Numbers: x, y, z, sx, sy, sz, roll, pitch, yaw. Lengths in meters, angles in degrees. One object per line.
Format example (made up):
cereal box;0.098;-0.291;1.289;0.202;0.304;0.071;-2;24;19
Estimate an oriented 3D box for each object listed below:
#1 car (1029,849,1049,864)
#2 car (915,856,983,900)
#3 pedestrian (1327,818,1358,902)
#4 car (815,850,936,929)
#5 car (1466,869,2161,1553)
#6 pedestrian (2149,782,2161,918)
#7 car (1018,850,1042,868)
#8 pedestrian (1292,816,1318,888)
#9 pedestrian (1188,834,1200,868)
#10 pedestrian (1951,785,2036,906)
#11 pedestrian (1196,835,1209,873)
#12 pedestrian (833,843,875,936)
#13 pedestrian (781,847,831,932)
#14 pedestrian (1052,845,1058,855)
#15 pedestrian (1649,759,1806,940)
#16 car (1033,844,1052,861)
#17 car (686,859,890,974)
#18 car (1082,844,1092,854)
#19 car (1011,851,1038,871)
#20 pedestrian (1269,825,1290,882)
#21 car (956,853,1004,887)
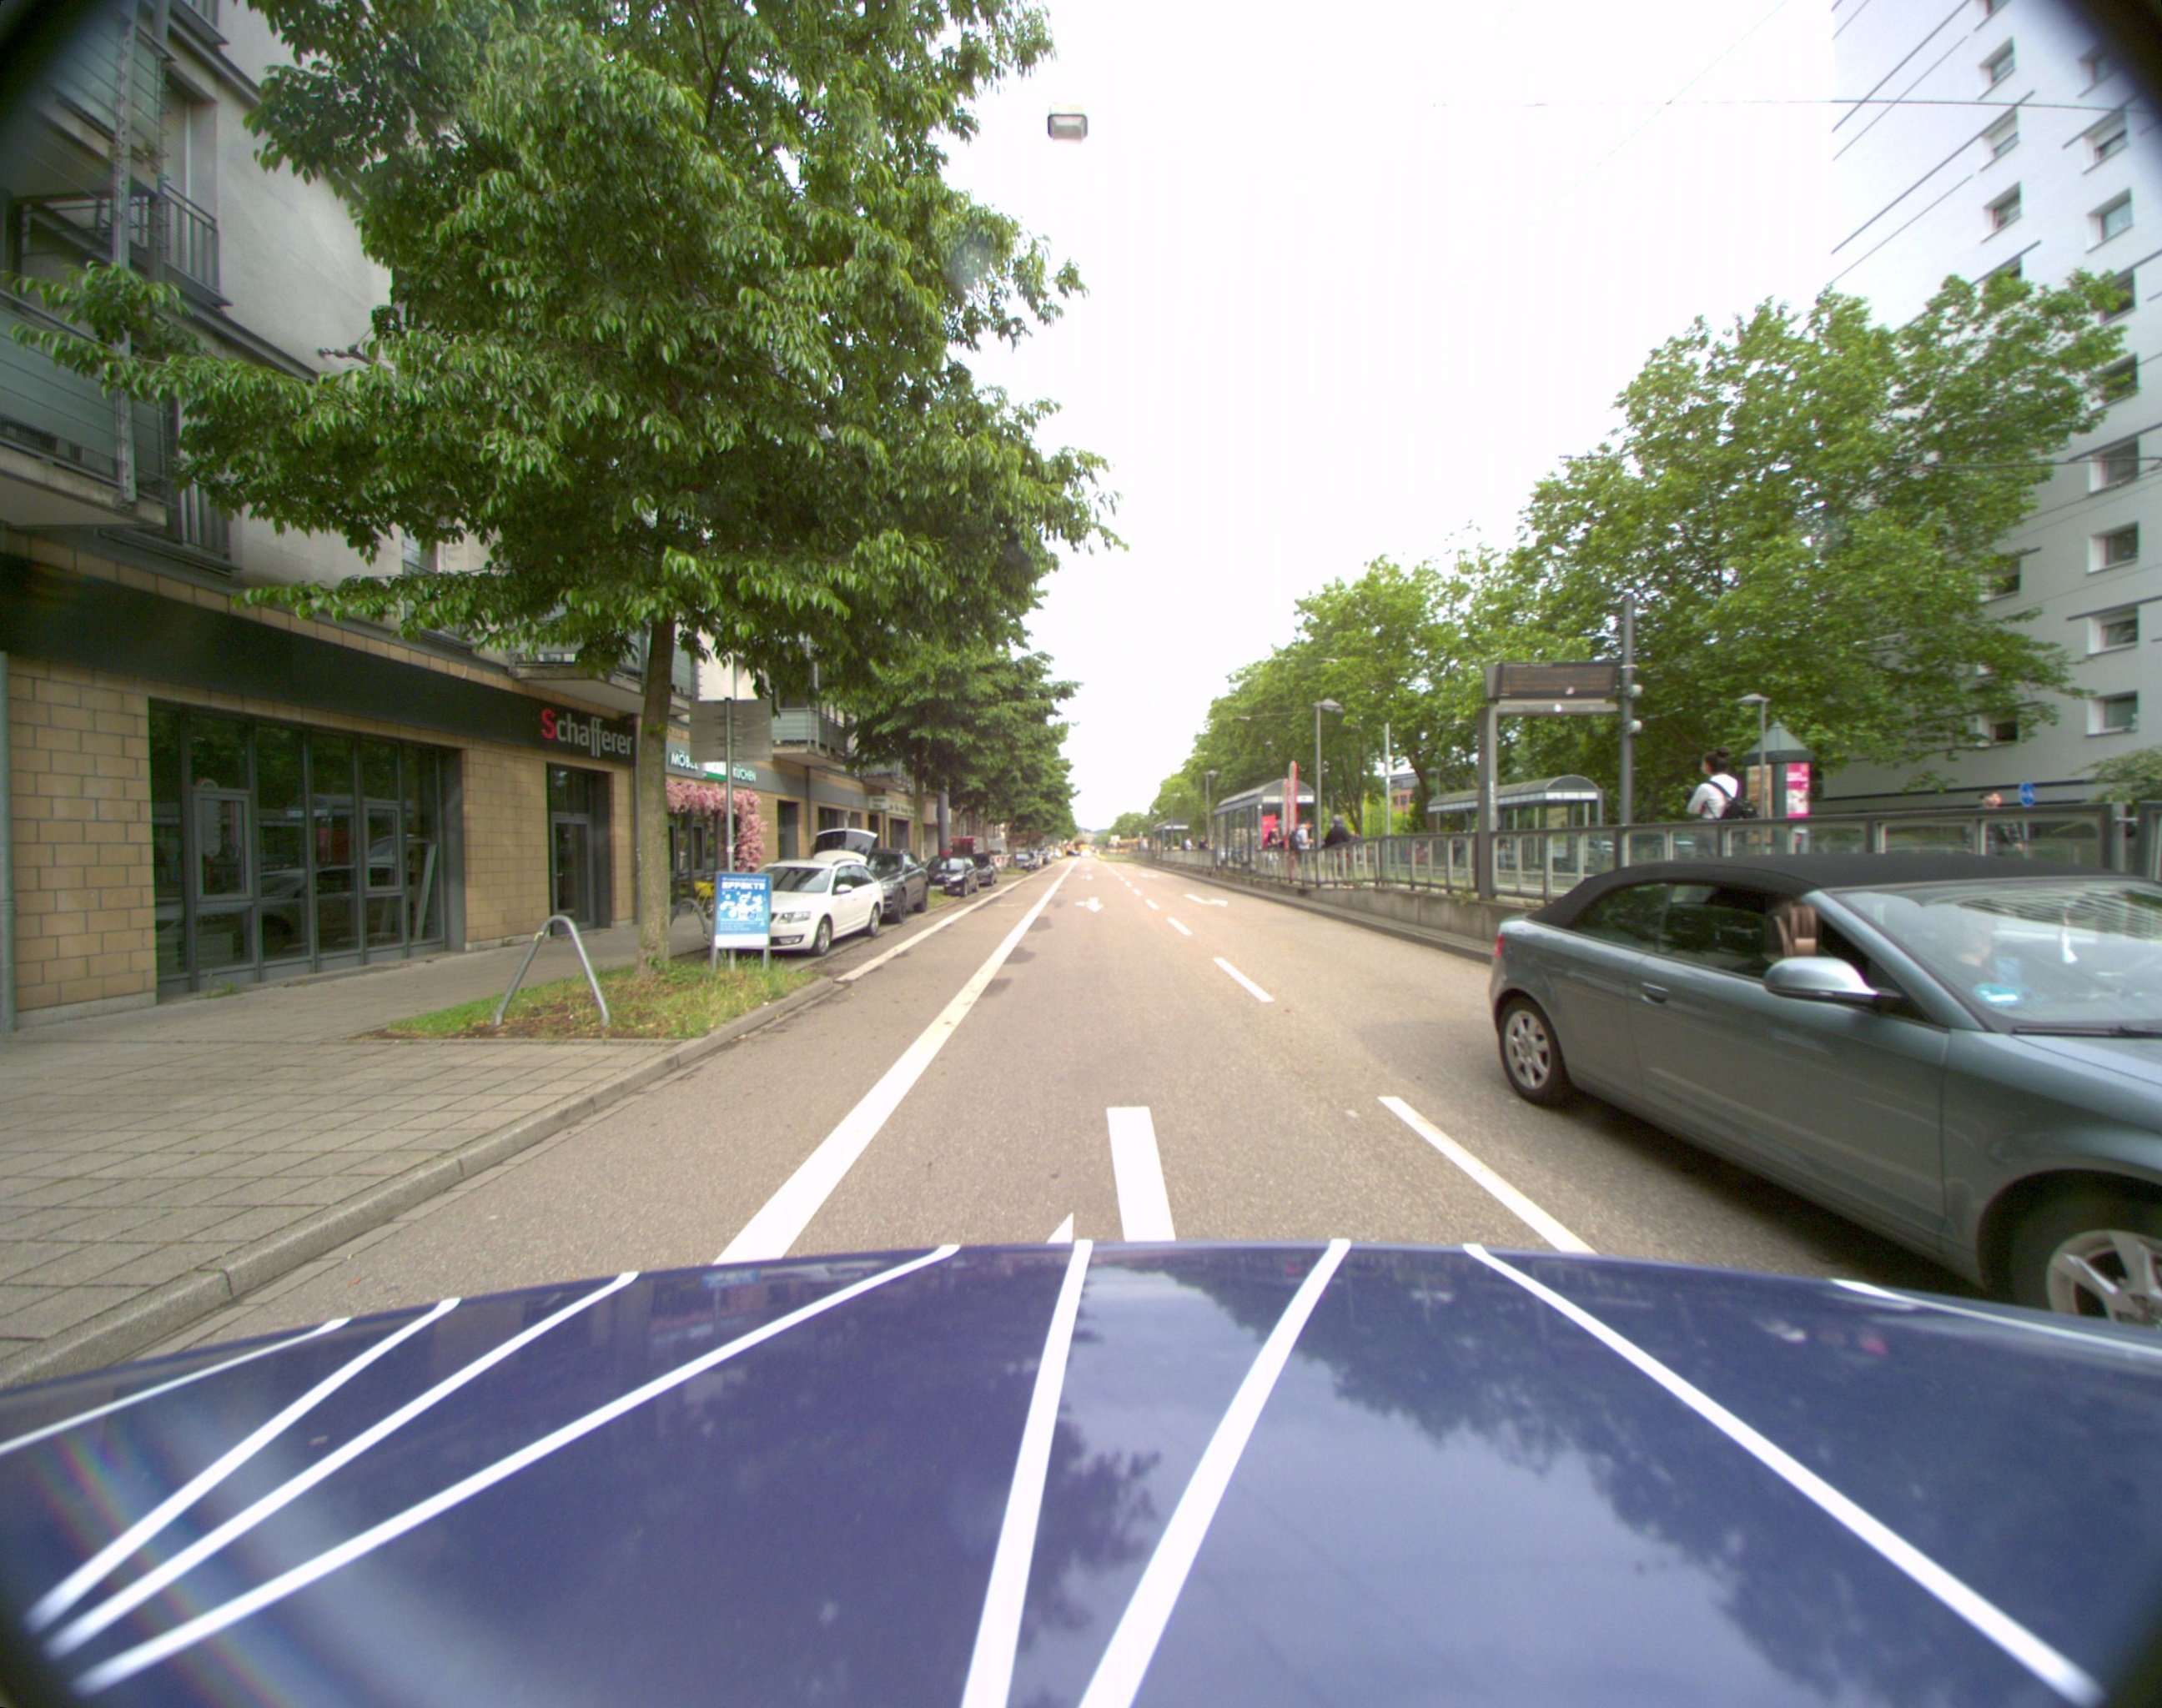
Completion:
car;-3.971;0.213;72.445;1.612;1.393;3.667;2;1;1
car;-4.638;0.797;27.270;1.612;1.369;4.167;2;1;1
pedestrian;5.706;0.122;16.574;0.521;1.794;0.605;-2;1;13
car;-4.716;0.745;17.998;1.738;1.601;3.798;2;1;1
car;3.279;0.839;2.742;1.716;1.379;4.099;-2;1;1
pedestrian;14.956;-0.064;9.988;0.882;1.823;0.666;-2;1;1
car;-4.126;0.368;62.159;1.612;1.393;3.667;2;1;1
pedestrian;5.747;-0.061;19.477;0.475;1.794;0.605;-2;1;5
pedestrian;6.139;-0.176;41.335;0.530;1.794;0.606;-2;1;14
pedestrian;14.951;-0.134;12.459;0.699;1.919;0.554;-2;1;1
pedestrian;5.847;0.002;36.518;0.530;1.794;0.606;-2;1;14
pedestrian;-4.697;0.718;15.759;0.656;1.873;0.599;-1;1;1
pedestrian;-5.644;0.710;15.613;0.737;1.707;0.618;1;1;8
pedestrian;-5.596;-0.845;162.630;1.216;2.002;1.143;-1;1;1
pedestrian;6.376;-0.044;7.556;0.721;1.661;0.979;-2;1;3
car;-3.965;-0.137;78.216;1.612;1.674;3.806;2;1;1
car;-4.719;0.904;12.995;1.738;1.512;4.308;2;1;1
car;1.252;-1.077;153.809;1.998;2.002;4.198;-2;1;2
car;-4.165;0.483;56.250;1.612;1.393;3.667;2;1;1
pedestrian;6.312;-0.025;24.194;0.474;1.794;0.606;-2;1;26
car;-4.557;0.688;34.731;1.612;1.393;3.667;2;1;1
